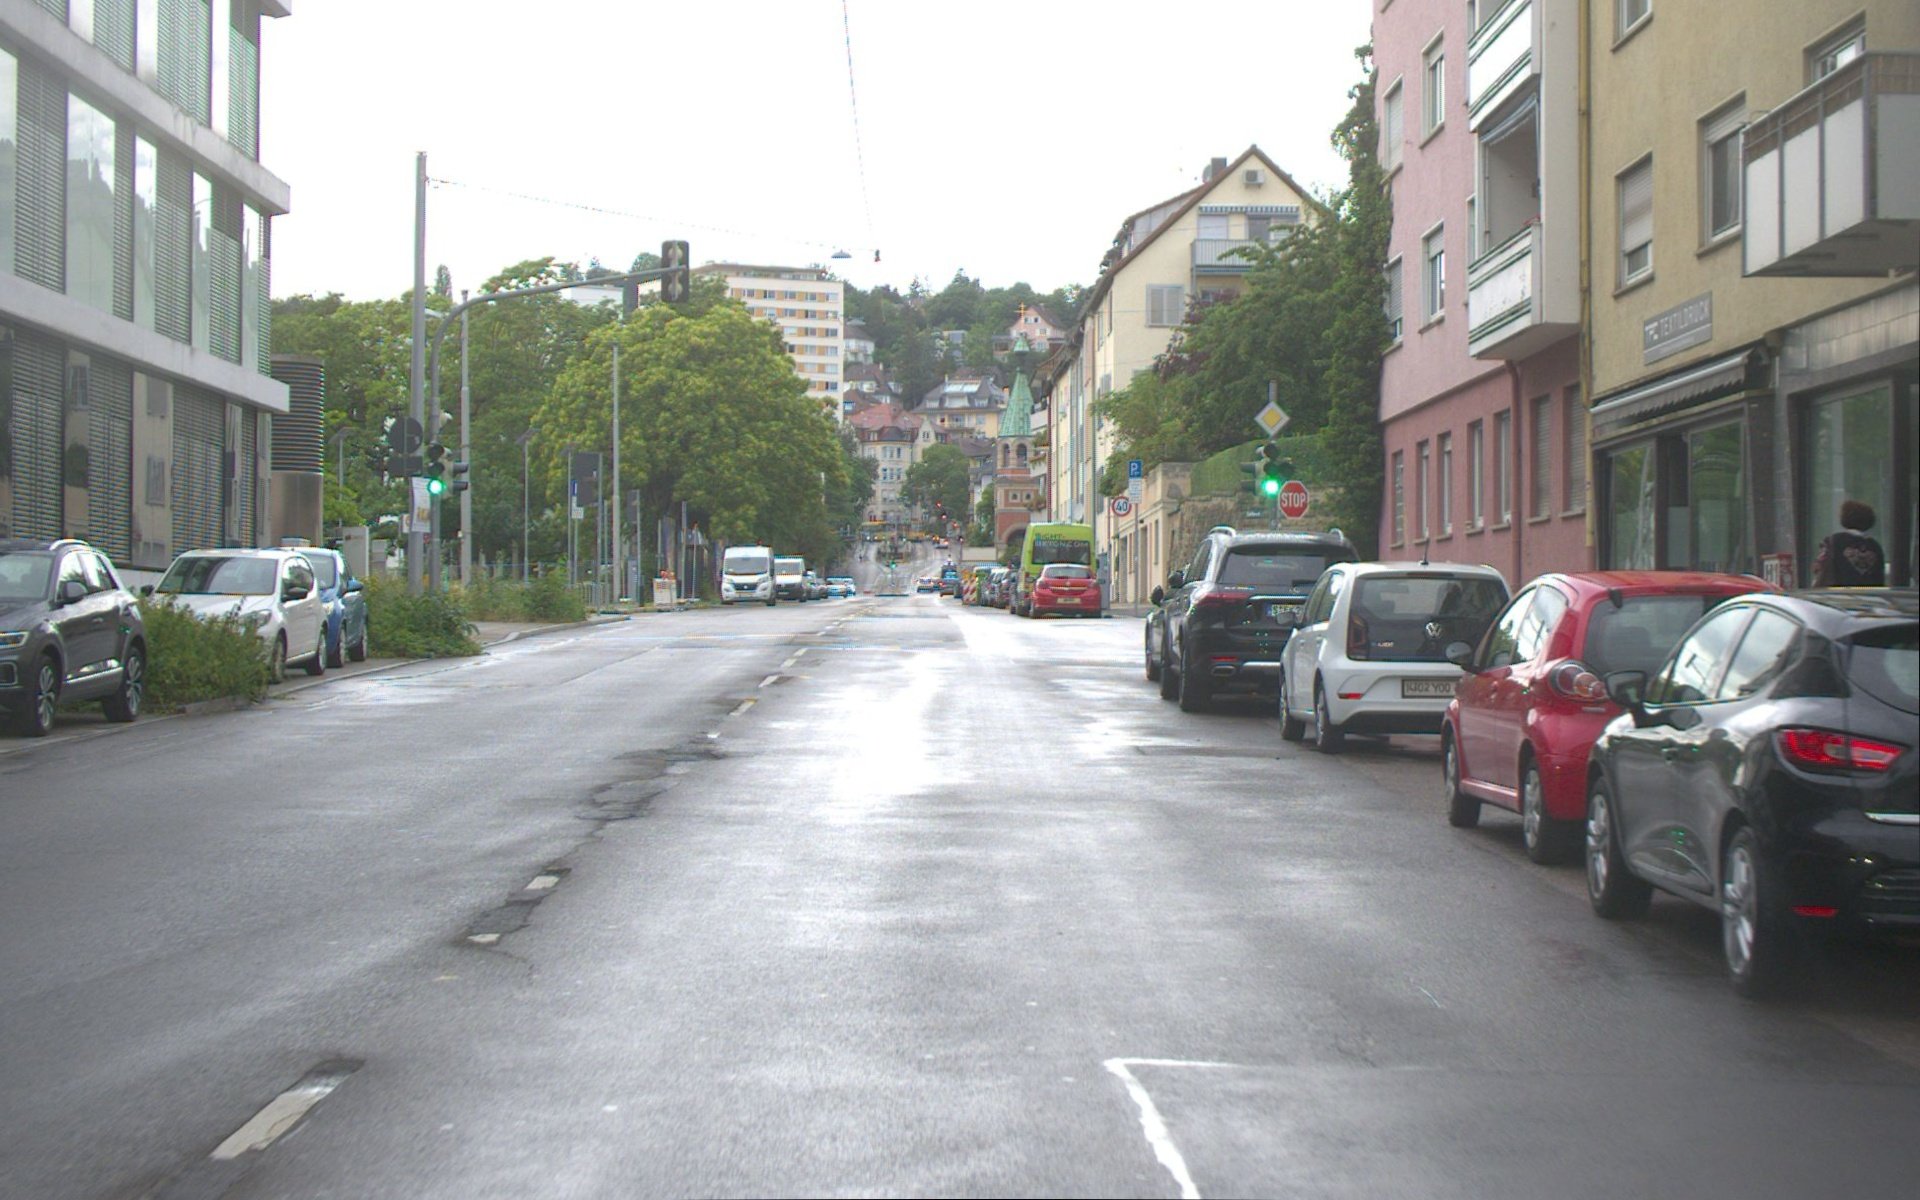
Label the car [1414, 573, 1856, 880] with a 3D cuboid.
[{"bbox_3d":[3.536,0.604,18.604,1.582,1.408,3.654,2,1,-1],"label":"car"}]

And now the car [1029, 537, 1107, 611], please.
[{"bbox_3d":[2.703,-0.663,85.564,1.867,1.764,4.189,2,1,2],"label":"car"}]

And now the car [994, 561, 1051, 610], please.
[{"bbox_3d":[2.222,-0.522,120.909,1.867,1.598,4.189,2,1,2],"label":"car"}]

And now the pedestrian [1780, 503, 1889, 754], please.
[{"bbox_3d":[6.620,0.211,26.037,0.639,1.864,0.538,2,1,1],"label":"pedestrian"}]

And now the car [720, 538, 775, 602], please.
[{"bbox_3d":[-8.703,-1.260,141.145,2.105,2.537,4.751,2,1,-3],"label":"car"}]

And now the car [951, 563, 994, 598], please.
[{"bbox_3d":[0.590,-0.936,163.797,1.867,1.598,4.189,2,1,2],"label":"car"}]

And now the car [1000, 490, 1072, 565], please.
[{"bbox_3d":[2.122,-1.993,94.688,1.867,1.966,4.189,2,1,2],"label":"car"}]

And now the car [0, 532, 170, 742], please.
[{"bbox_3d":[-7.990,0.234,28.348,1.802,1.598,4.234,2,1,2],"label":"car"}]

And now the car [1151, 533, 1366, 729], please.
[{"bbox_3d":[2.885,0.249,33.970,1.654,1.732,4.180,1,2,-1],"label":"car"}]

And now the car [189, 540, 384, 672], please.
[{"bbox_3d":[-8.676,0.045,44.593,1.866,1.520,4.197,1,2,-3],"label":"car"}]

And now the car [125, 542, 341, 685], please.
[{"bbox_3d":[-8.247,0.114,39.270,1.595,1.454,3.719,2,2,1],"label":"car"}]

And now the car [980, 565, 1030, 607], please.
[{"bbox_3d":[1.856,-0.574,140.272,1.867,1.598,4.189,2,1,2],"label":"car"}]

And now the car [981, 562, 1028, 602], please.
[{"bbox_3d":[1.893,-0.776,145.305,1.867,1.598,4.189,2,1,2],"label":"car"}]

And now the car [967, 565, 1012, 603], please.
[{"bbox_3d":[1.351,-0.745,155.629,1.867,1.598,4.189,2,1,2],"label":"car"}]

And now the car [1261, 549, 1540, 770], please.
[{"bbox_3d":[3.421,0.413,27.291,1.635,1.565,3.711,2,1,-1],"label":"car"}]

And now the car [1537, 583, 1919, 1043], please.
[{"bbox_3d":[3.484,0.712,13.384,1.706,1.449,3.985,2,1,-1],"label":"car"}]
